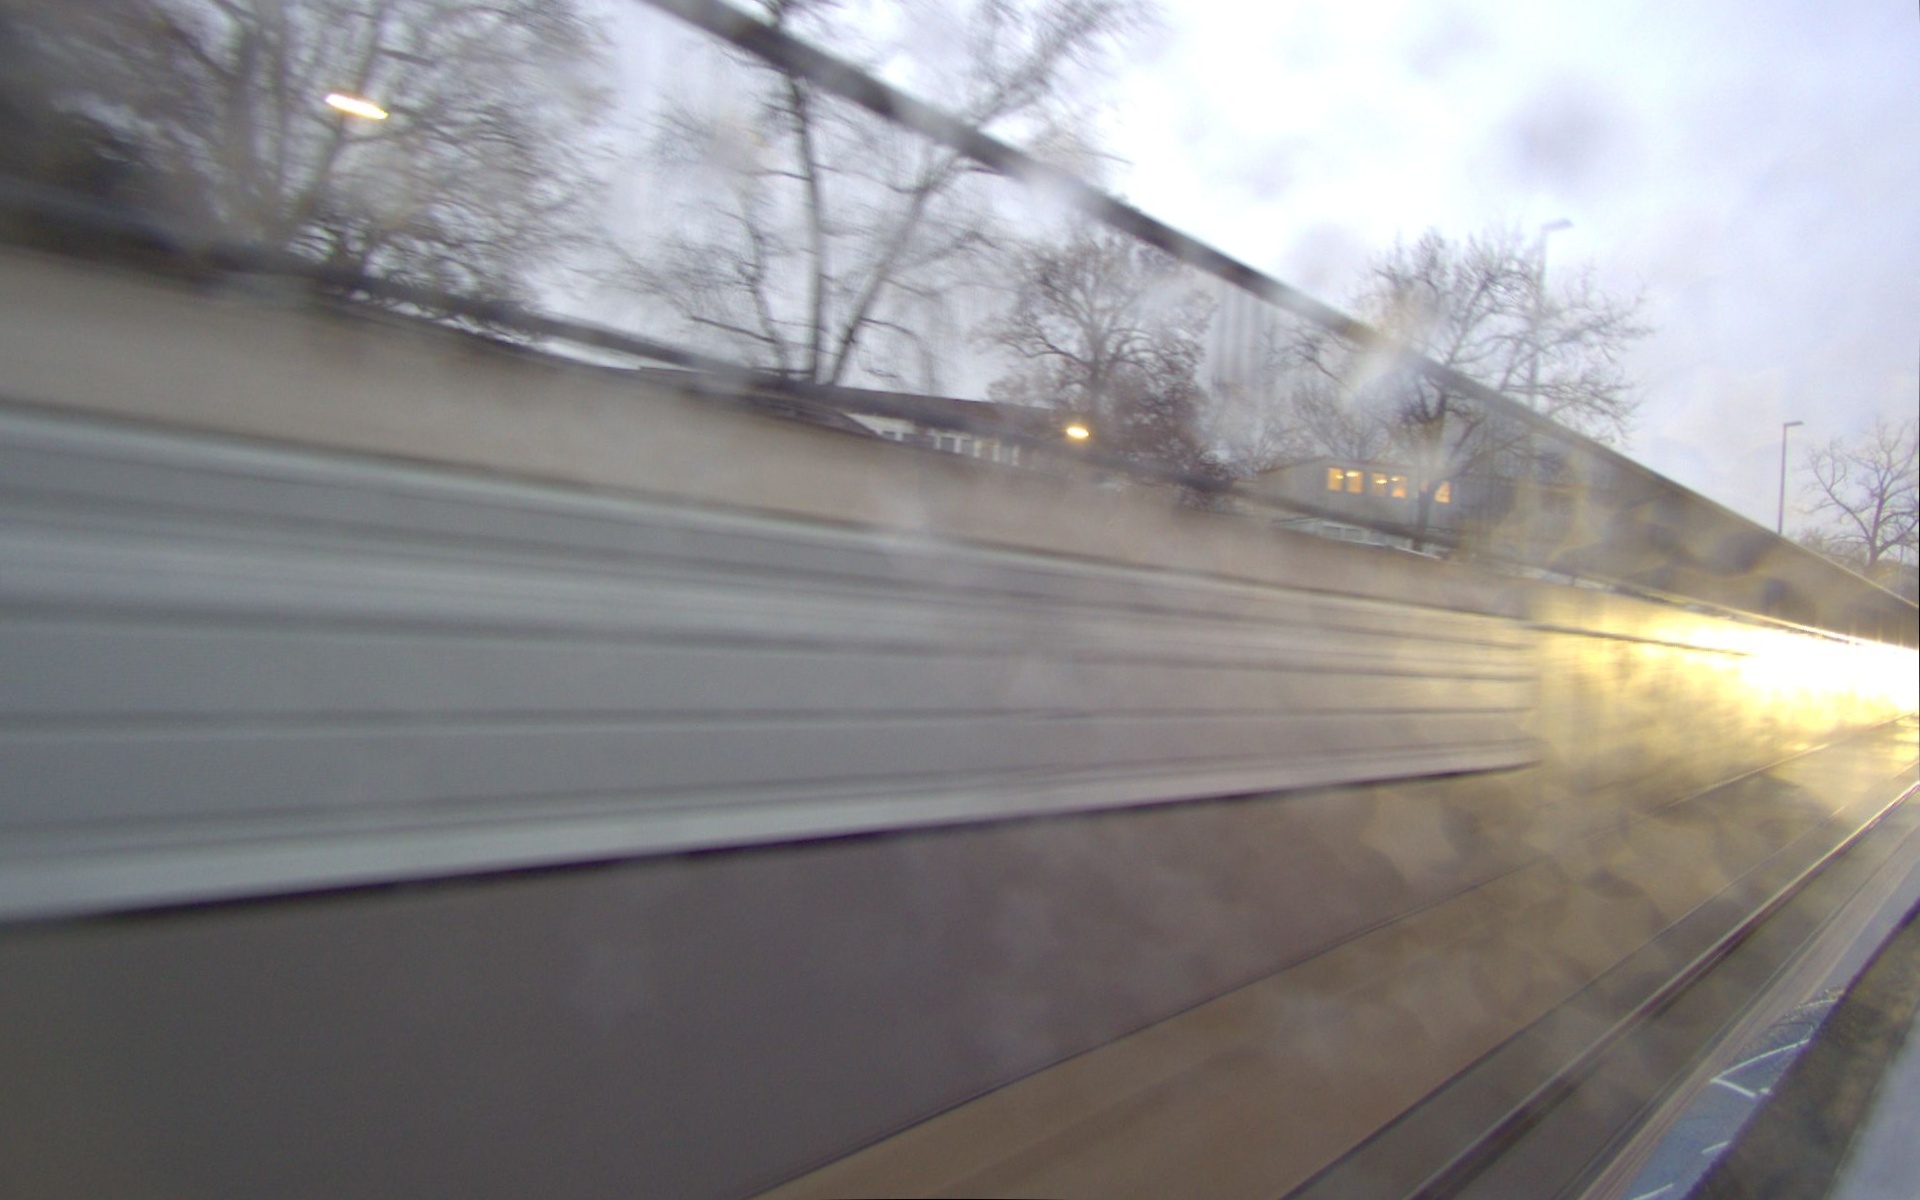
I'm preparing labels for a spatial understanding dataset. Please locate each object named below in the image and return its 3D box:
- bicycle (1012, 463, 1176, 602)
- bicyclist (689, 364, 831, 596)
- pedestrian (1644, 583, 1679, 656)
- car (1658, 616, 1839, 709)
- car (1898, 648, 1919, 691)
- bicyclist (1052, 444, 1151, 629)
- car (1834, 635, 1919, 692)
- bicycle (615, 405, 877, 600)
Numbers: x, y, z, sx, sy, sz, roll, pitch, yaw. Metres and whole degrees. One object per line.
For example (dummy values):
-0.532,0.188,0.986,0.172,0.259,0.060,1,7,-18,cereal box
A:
1.419,-0.644,10.405,1.993,1.200,0.412,5,-2,-42,bicycle
-1.513,-0.868,7.691,0.822,1.612,0.501,5,-2,-42,bicyclist
18.926,0.540,27.296,0.885,1.904,0.532,5,-2,-42,pedestrian
14.324,1.114,18.323,3.926,1.498,1.726,4,-3,-39,car
36.118,2.603,37.232,3.966,1.480,1.778,4,-1,-39,car
1.456,-0.627,10.392,0.822,1.789,0.501,5,-2,-42,bicyclist
27.920,1.900,30.380,4.878,1.520,1.790,3,-1,-40,car
-1.552,-0.664,7.634,1.914,1.200,0.412,5,-2,-42,bicycle
